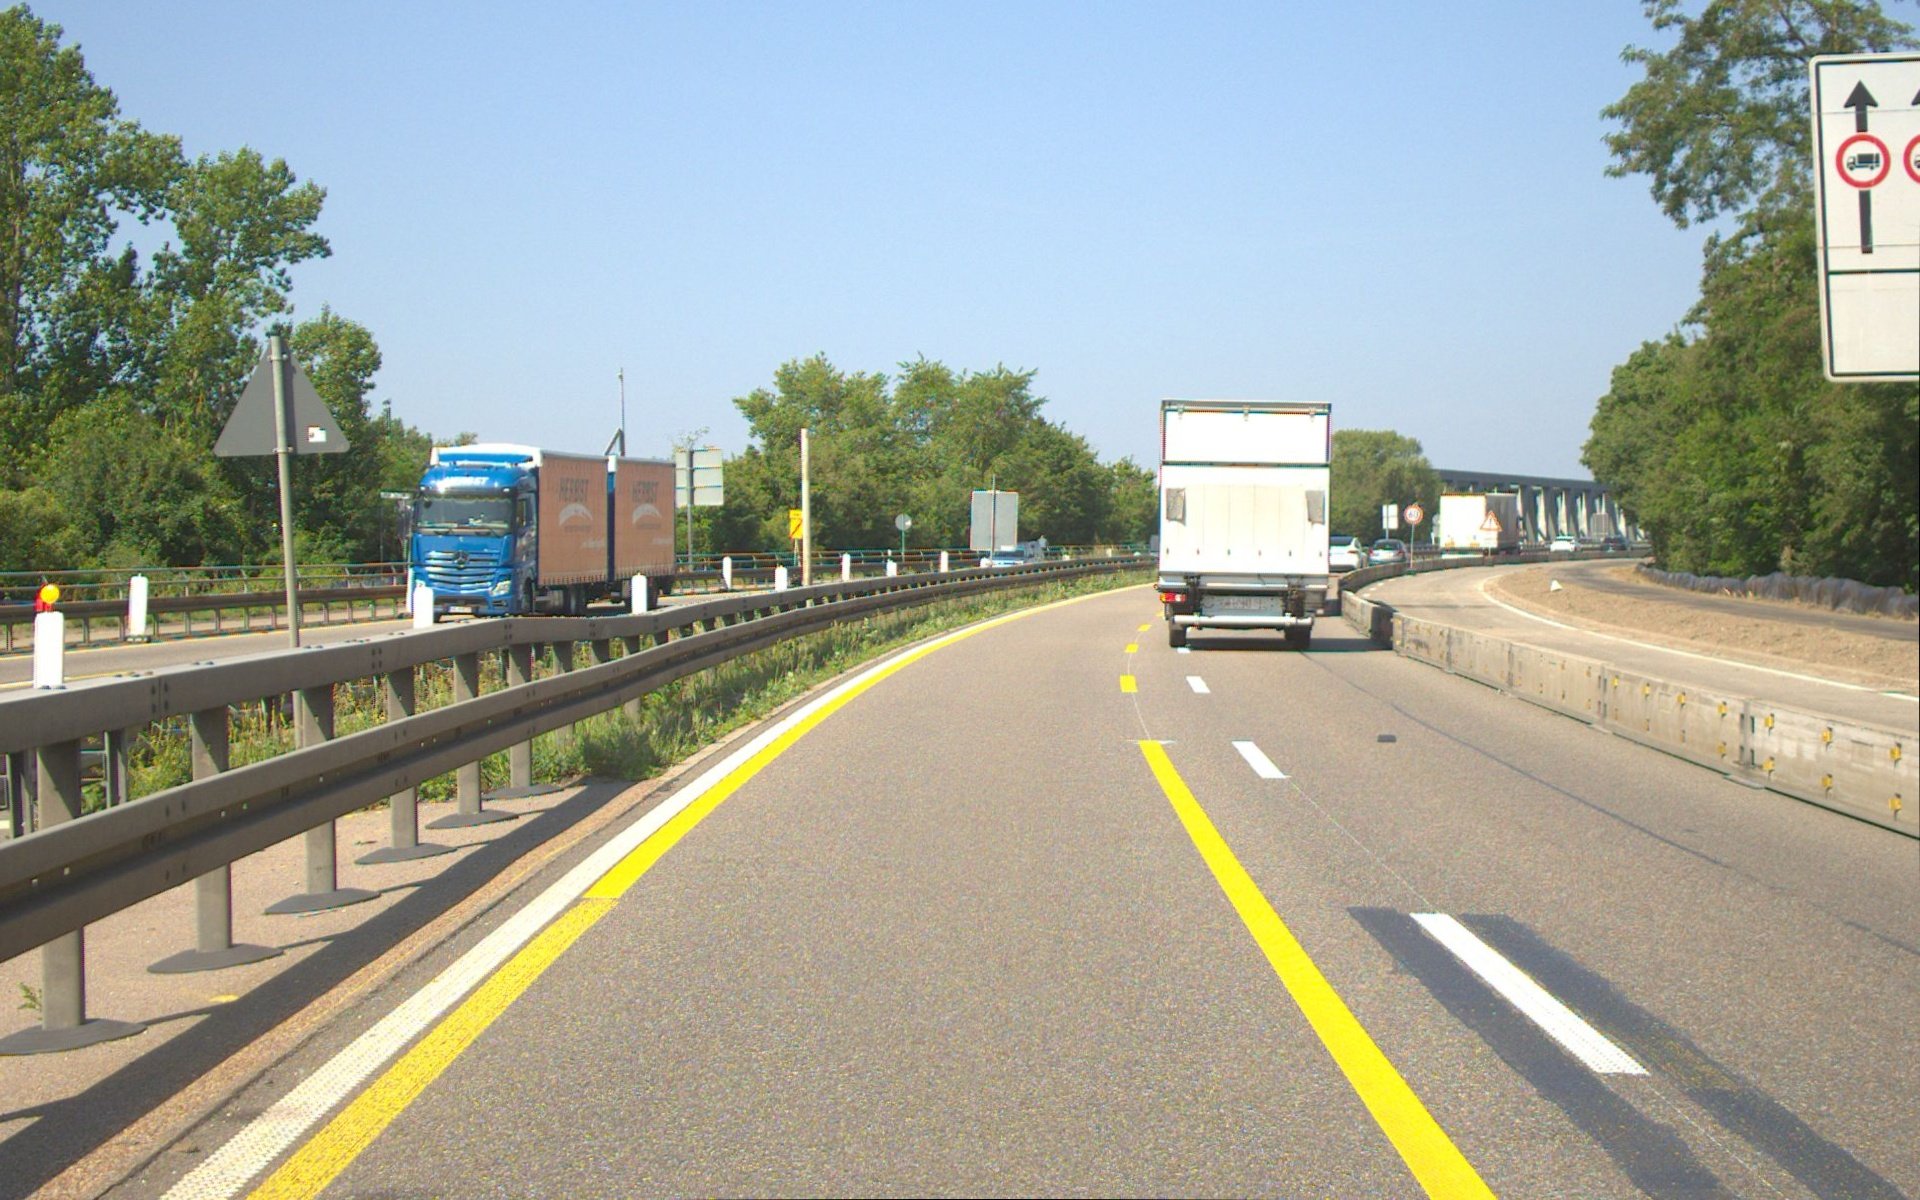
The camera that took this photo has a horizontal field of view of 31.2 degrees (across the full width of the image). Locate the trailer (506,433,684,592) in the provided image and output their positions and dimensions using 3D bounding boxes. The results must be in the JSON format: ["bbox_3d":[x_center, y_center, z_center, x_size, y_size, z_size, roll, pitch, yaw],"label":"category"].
[{"bbox_3d":[-9.792,-2.387,93.415,3.038,4.077,9.787,1,2,4],"label":"trailer"}]

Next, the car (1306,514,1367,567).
[{"bbox_3d":[15.219,-2.428,138.813,1.994,2.006,3.998,-2,2,12],"label":"car"}]

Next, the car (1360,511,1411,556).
[{"bbox_3d":[19.937,-3.117,161.008,1.994,2.006,3.998,-2,2,11],"label":"car"}]

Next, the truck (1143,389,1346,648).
[{"bbox_3d":[4.051,-1.192,49.616,2.634,3.415,7.232,1,2,4],"label":"truck"}]

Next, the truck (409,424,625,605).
[{"bbox_3d":[-10.543,-2.091,83.084,3.038,4.077,10.623,1,2,4],"label":"truck"}]

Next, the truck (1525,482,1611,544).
[{"bbox_3d":[44.991,-6.475,254.277,4.224,4.252,10.231,-2,2,21],"label":"truck"}]

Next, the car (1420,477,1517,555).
[{"bbox_3d":[29.497,-4.906,198.873,4.210,4.237,10.655,-2,2,15],"label":"car"}]

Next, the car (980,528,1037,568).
[{"bbox_3d":[2.118,-2.245,148.292,1.910,1.645,4.375,-1,1,7],"label":"car"}]
